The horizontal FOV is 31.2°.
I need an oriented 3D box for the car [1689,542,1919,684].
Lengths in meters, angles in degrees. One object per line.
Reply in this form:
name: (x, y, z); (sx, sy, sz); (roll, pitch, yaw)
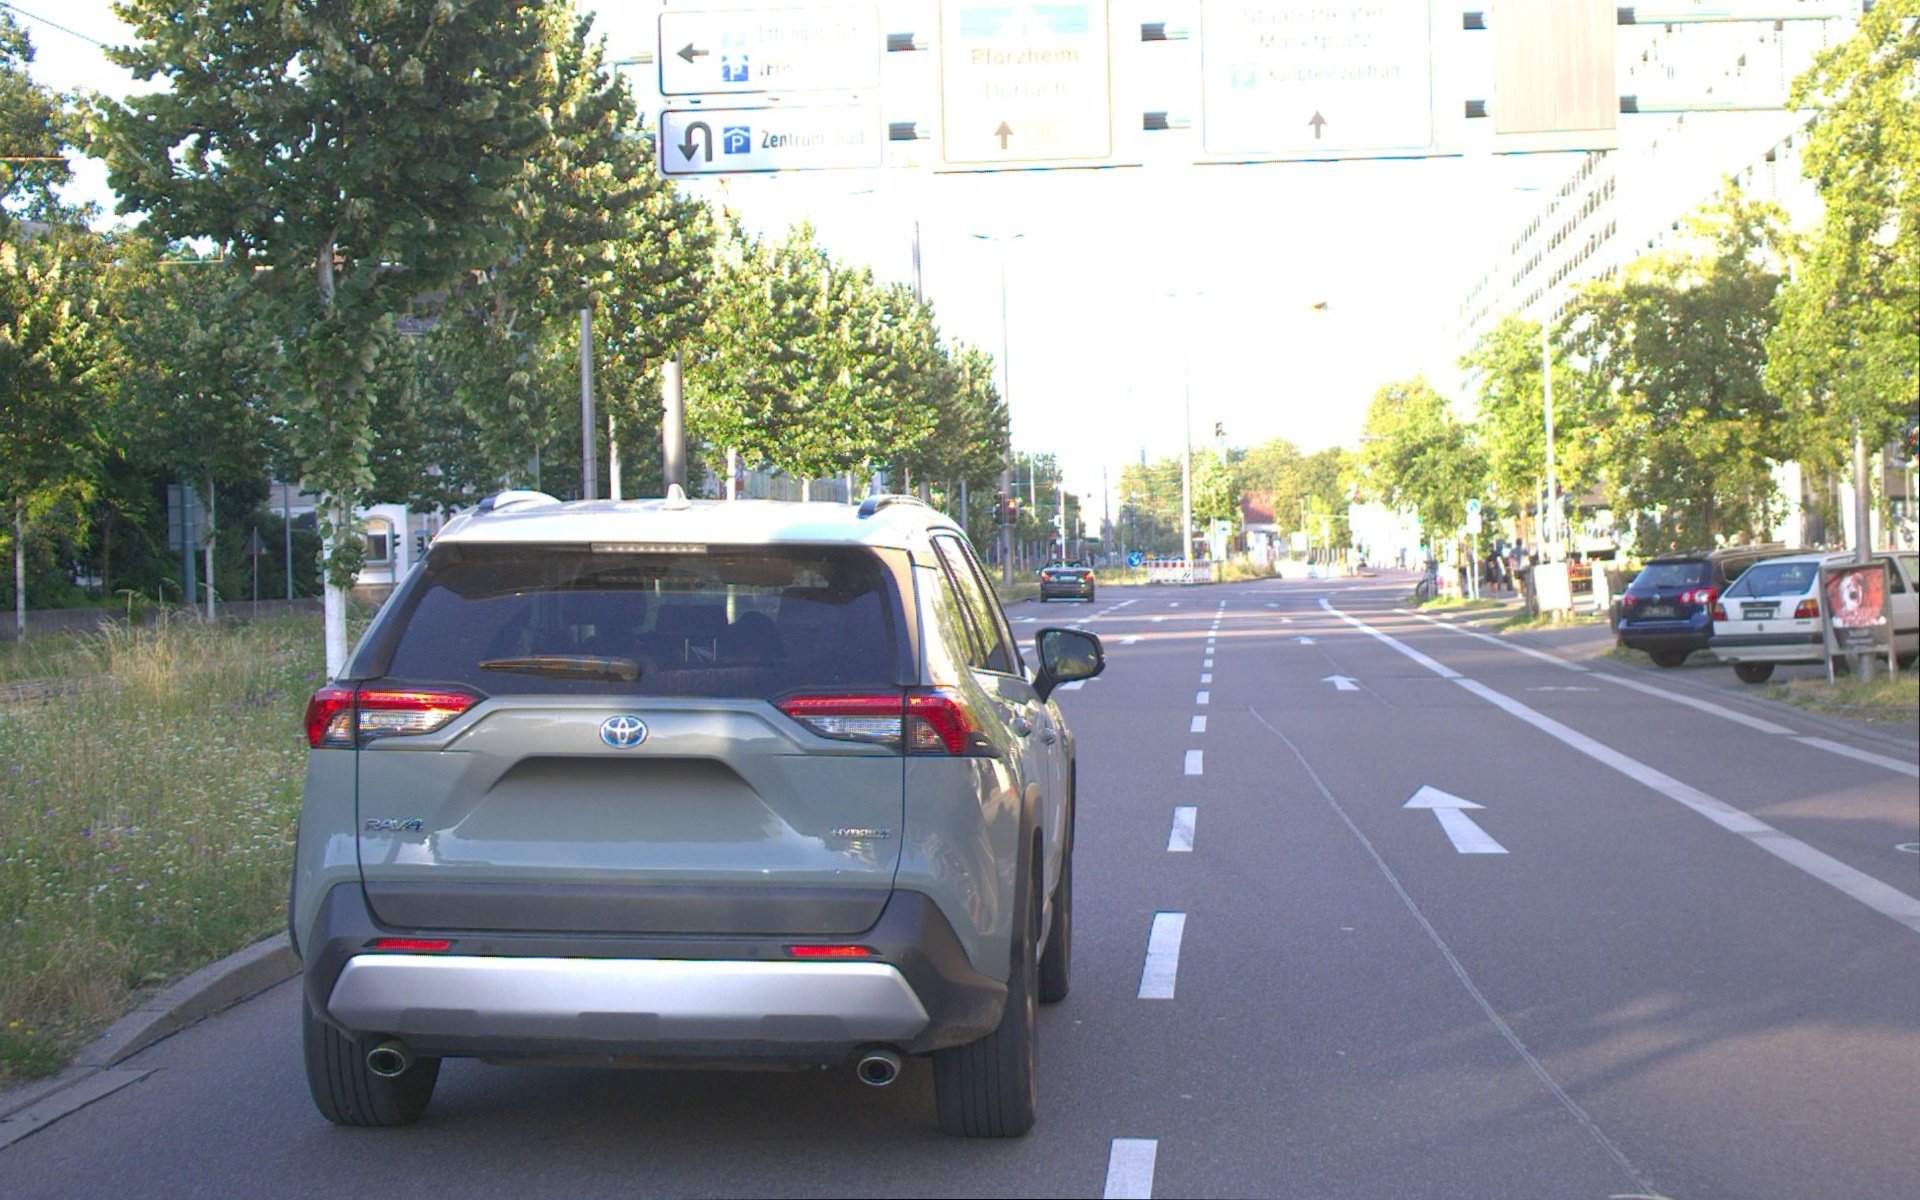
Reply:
car: (10.316, 0.103, 38.748); (3.978, 1.412, 1.751); (-4, 1, -33)

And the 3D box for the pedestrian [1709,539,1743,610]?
pedestrian: (17.841, -0.607, 80.121); (0.576, 1.613, 0.643); (-3, 1, 2)

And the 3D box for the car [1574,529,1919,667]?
car: (10.473, -0.037, 45.183); (4.655, 1.503, 1.939); (-4, 1, -35)

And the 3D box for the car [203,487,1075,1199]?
car: (-0.668, 0.537, 9.984); (1.834, 1.667, 4.282); (0, 1, 4)

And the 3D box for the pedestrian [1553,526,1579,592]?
pedestrian: (16.723, -1.130, 94.859); (0.576, 1.780, 0.828); (-3, -1, 12)

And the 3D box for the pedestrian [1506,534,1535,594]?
pedestrian: (16.371, -1.053, 100.434); (0.685, 1.729, 0.761); (-3, 1, 4)

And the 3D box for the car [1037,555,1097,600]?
car: (3.337, -0.699, 106.782); (1.674, 1.347, 4.000); (0, 1, 4)

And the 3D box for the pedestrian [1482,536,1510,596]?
pedestrian: (15.664, -0.994, 100.515); (0.653, 1.696, 0.689); (-3, 1, 4)

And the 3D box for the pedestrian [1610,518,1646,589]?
pedestrian: (18.069, -1.257, 92.987); (0.825, 1.882, 0.866); (-3, -1, 13)

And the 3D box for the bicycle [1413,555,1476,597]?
bicycle: (14.972, -0.728, 106.251); (1.793, 1.189, 0.568); (-3, 1, 0)

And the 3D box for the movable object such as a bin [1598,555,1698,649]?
movable object such as a bin: (10.096, 0.026, 50.479); (1.084, 1.297, 1.361); (-3, 1, -2)
